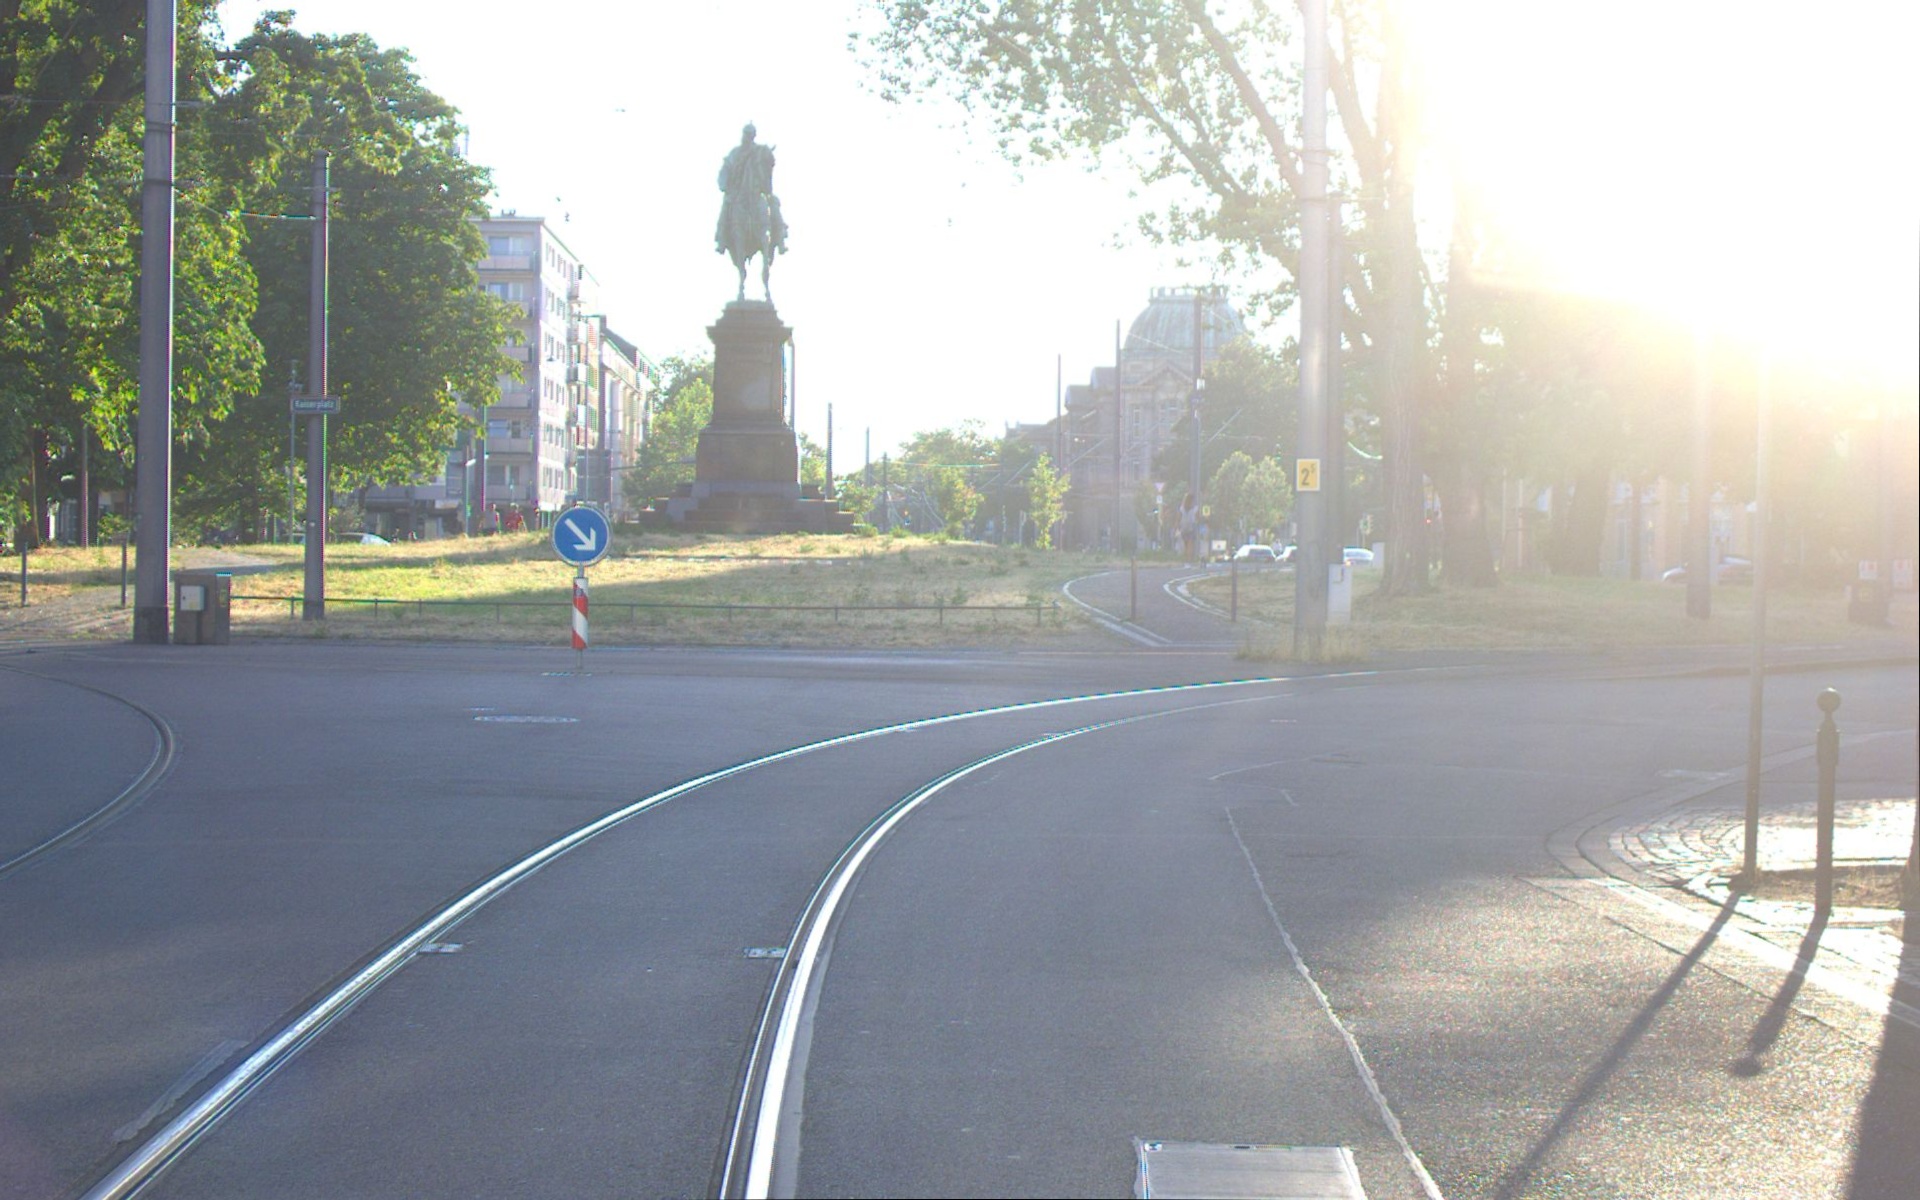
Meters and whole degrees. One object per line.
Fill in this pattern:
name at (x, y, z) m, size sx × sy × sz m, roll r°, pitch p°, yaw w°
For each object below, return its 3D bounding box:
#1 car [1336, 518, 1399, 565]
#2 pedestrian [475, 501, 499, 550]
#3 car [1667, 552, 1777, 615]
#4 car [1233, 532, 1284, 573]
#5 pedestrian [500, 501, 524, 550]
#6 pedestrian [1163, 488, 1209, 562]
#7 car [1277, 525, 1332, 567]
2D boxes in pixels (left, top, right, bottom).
car at (18.215, -2.634, 153.794) m, size 2.138 × 2.007 × 4.001 m, roll 1°, pitch 1°, yaw -2°
pedestrian at (-15.599, -2.456, 113.454) m, size 0.769 × 1.600 × 0.638 m, roll 0°, pitch 1°, yaw -8°
car at (24.891, -0.559, 112.431) m, size 1.993 × 1.963 × 4.001 m, roll 0°, pitch 2°, yaw -12°
car at (15.630, -2.504, 180.243) m, size 2.138 × 2.007 × 4.001 m, roll 1°, pitch 1°, yaw -2°
pedestrian at (-14.729, -2.435, 112.930) m, size 0.769 × 1.600 × 0.638 m, roll 0°, pitch 1°, yaw -8°
pedestrian at (4.950, -1.647, 75.420) m, size 0.769 × 1.600 × 0.638 m, roll -1°, pitch 2°, yaw -44°
car at (16.925, -2.677, 169.100) m, size 2.138 × 2.007 × 4.001 m, roll 1°, pitch 1°, yaw -2°
